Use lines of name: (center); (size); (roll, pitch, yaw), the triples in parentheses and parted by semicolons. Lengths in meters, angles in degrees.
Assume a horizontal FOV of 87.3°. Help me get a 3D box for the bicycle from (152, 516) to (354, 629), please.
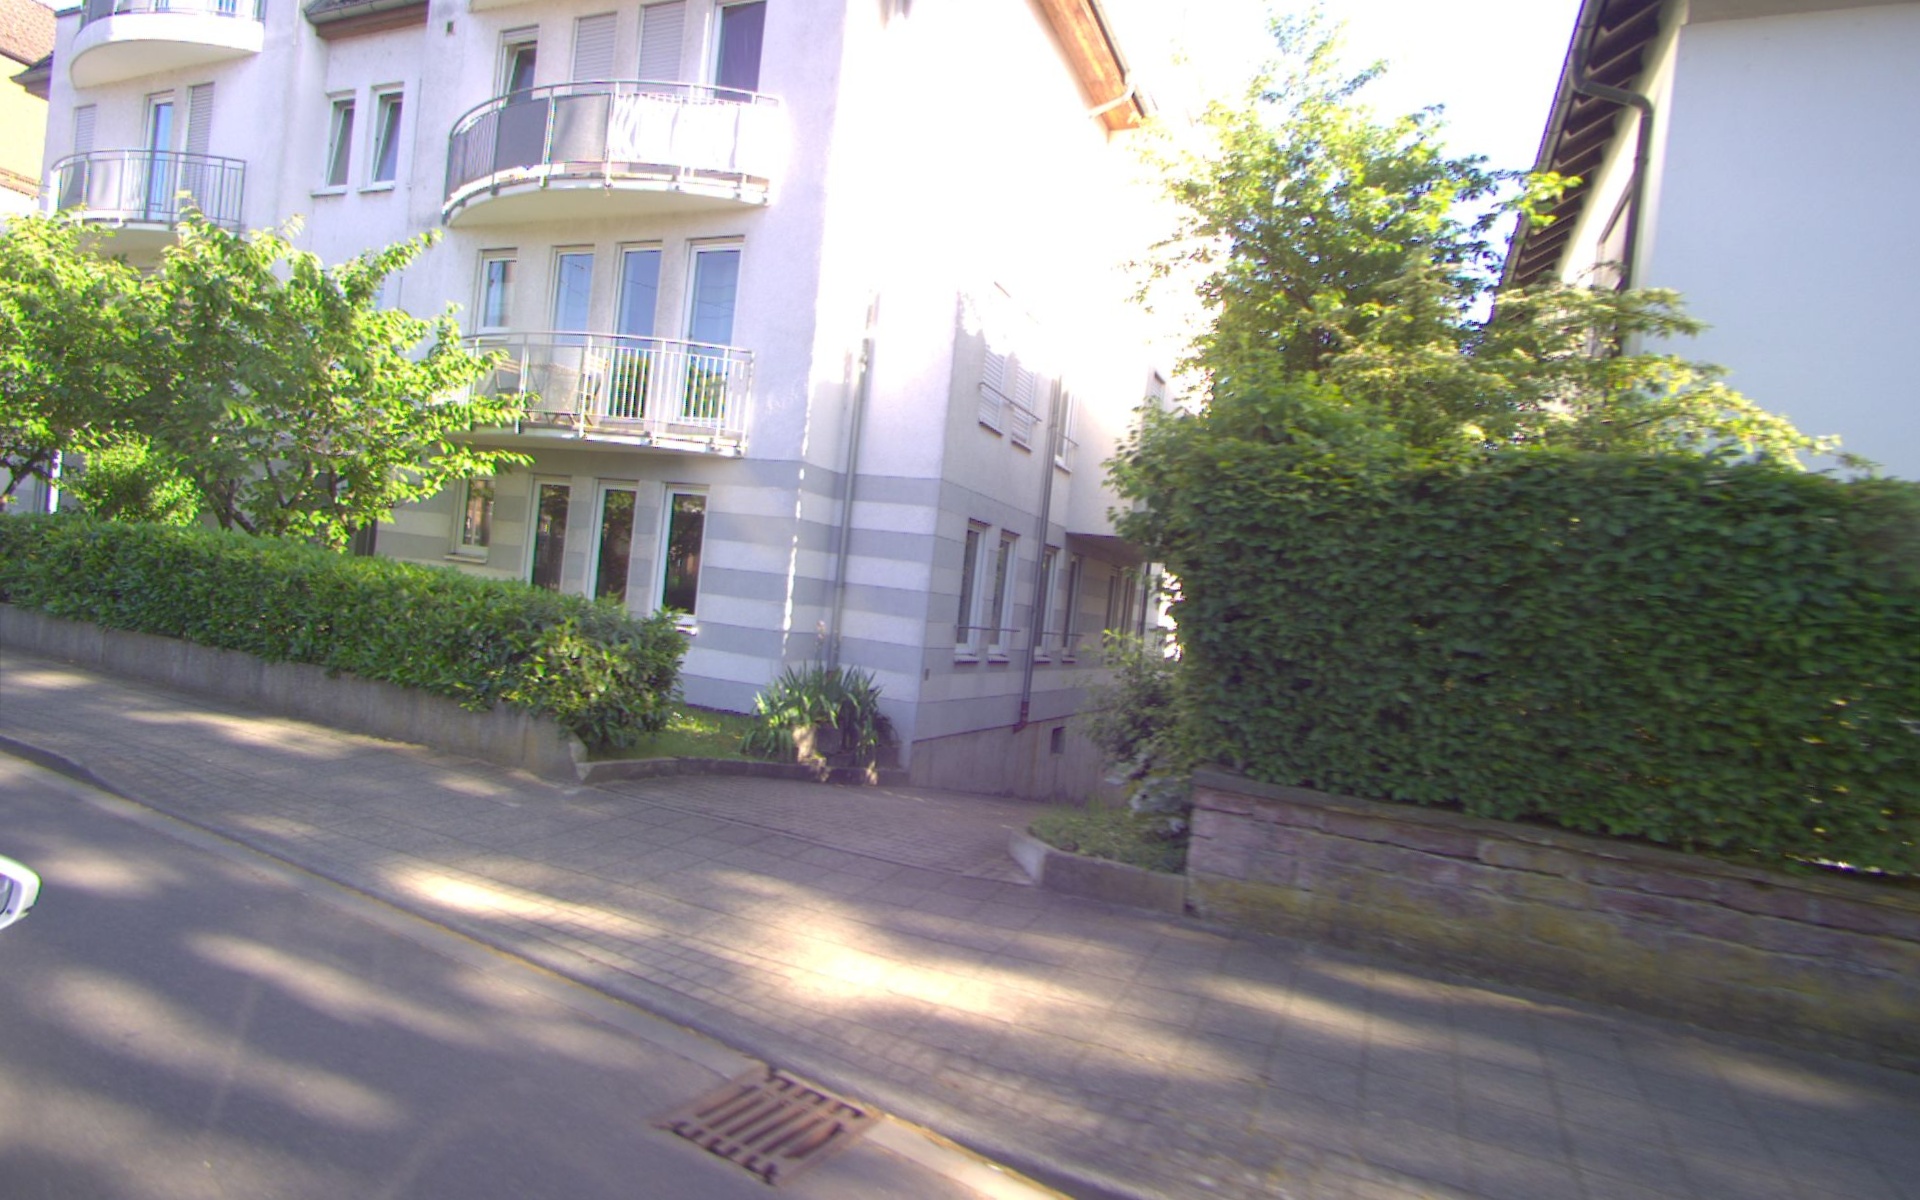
bicycle: (-8.591, -0.325, 12.317); (0.810, 1.220, 1.843); (6, 3, 23)
